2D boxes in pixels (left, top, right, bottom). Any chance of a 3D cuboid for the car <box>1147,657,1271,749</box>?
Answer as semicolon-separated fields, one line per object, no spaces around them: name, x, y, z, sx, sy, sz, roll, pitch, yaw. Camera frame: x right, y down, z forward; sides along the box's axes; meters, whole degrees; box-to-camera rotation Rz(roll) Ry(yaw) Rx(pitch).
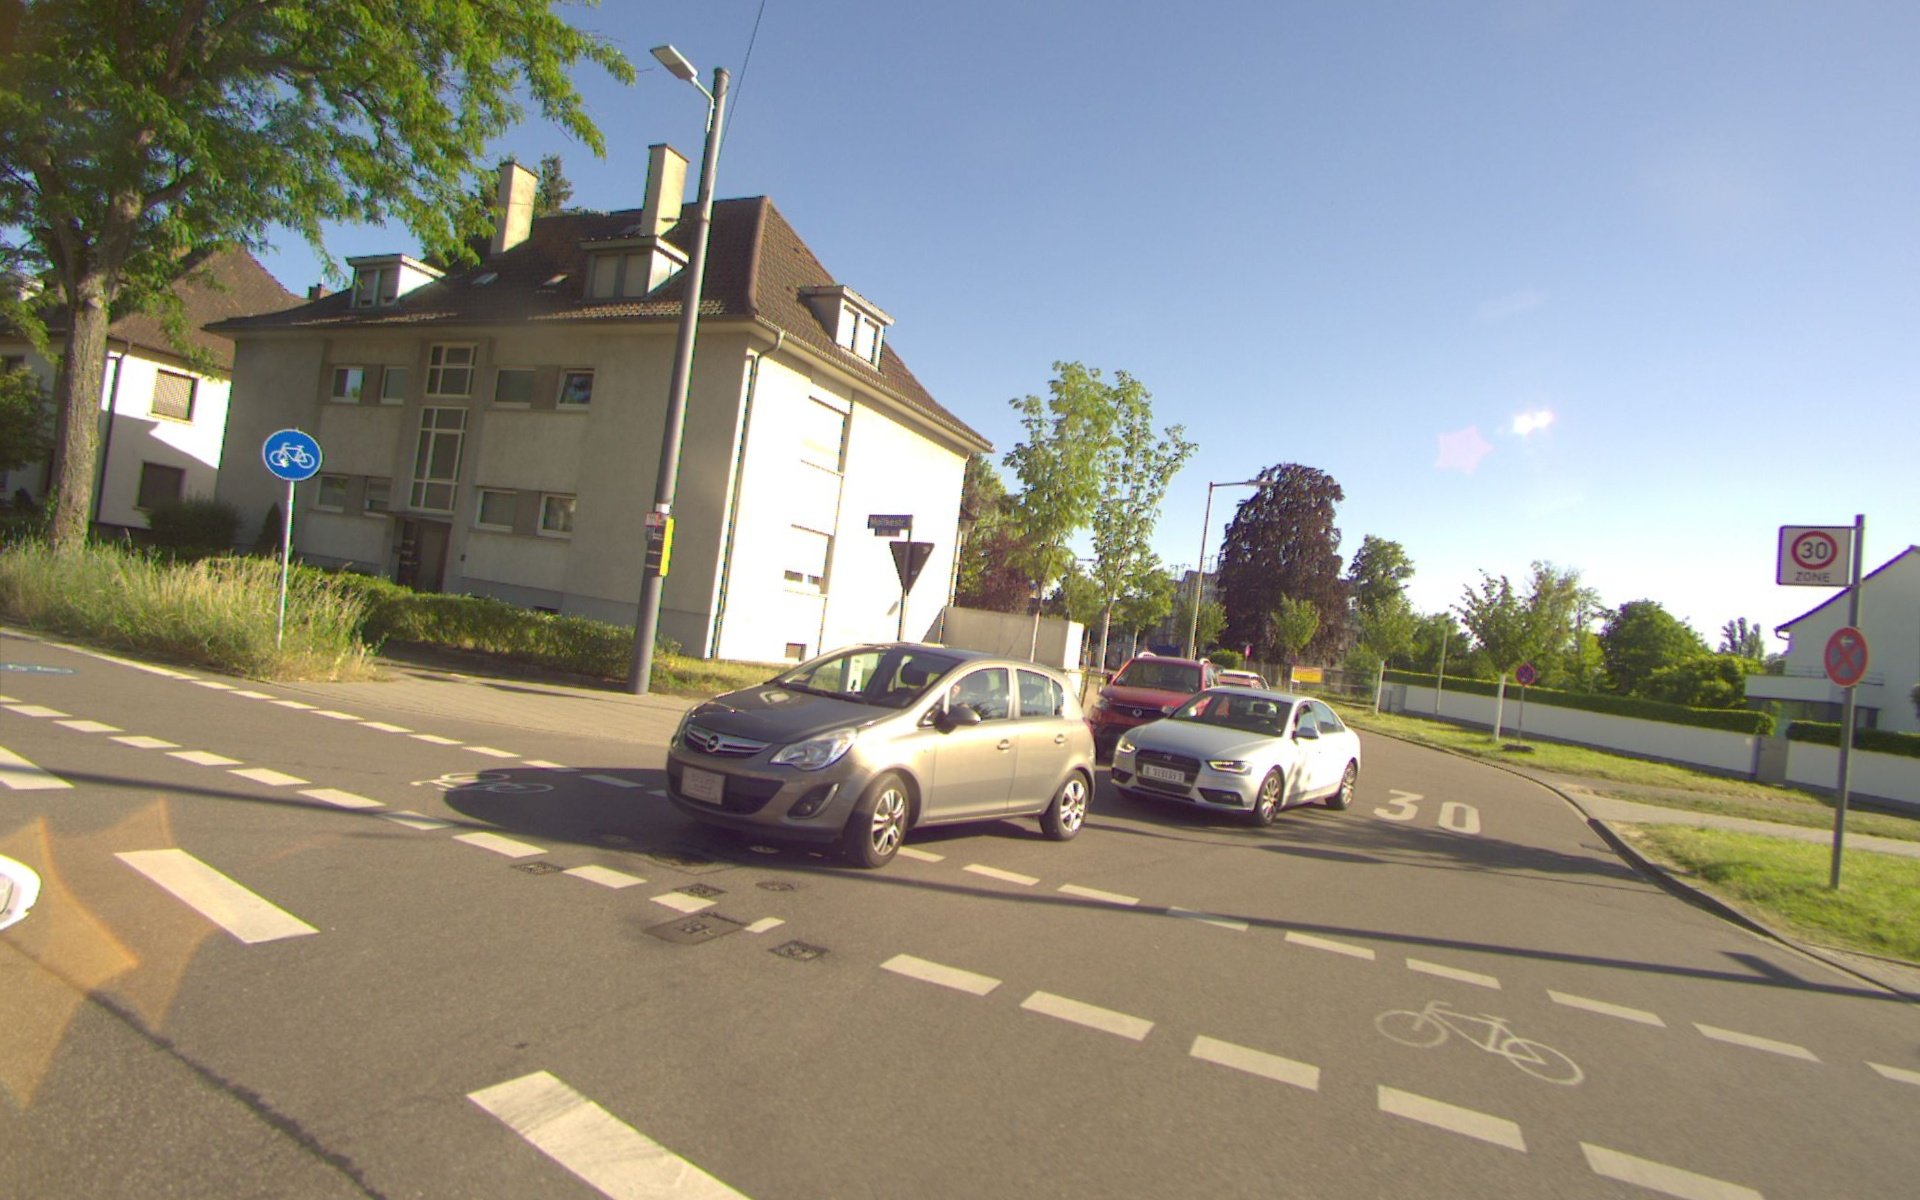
car;5.484;2.195;21.748;1.945;1.525;4.179;7;-2;22

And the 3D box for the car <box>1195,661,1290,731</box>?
car;7.812;2.615;28.164;1.944;1.525;4.182;8;-2;10

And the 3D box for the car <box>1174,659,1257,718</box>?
car;8.699;2.998;34.540;1.962;1.590;4.007;9;-3;6

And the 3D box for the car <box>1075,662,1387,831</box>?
car;3.518;1.730;12.363;1.953;1.483;4.603;5;-3;38

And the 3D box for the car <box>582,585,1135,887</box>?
car;-0.503;0.975;7.768;1.952;1.525;3.991;7;-3;36

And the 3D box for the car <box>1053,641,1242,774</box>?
car;3.257;1.762;16.736;1.947;1.660;4.177;7;-2;25
